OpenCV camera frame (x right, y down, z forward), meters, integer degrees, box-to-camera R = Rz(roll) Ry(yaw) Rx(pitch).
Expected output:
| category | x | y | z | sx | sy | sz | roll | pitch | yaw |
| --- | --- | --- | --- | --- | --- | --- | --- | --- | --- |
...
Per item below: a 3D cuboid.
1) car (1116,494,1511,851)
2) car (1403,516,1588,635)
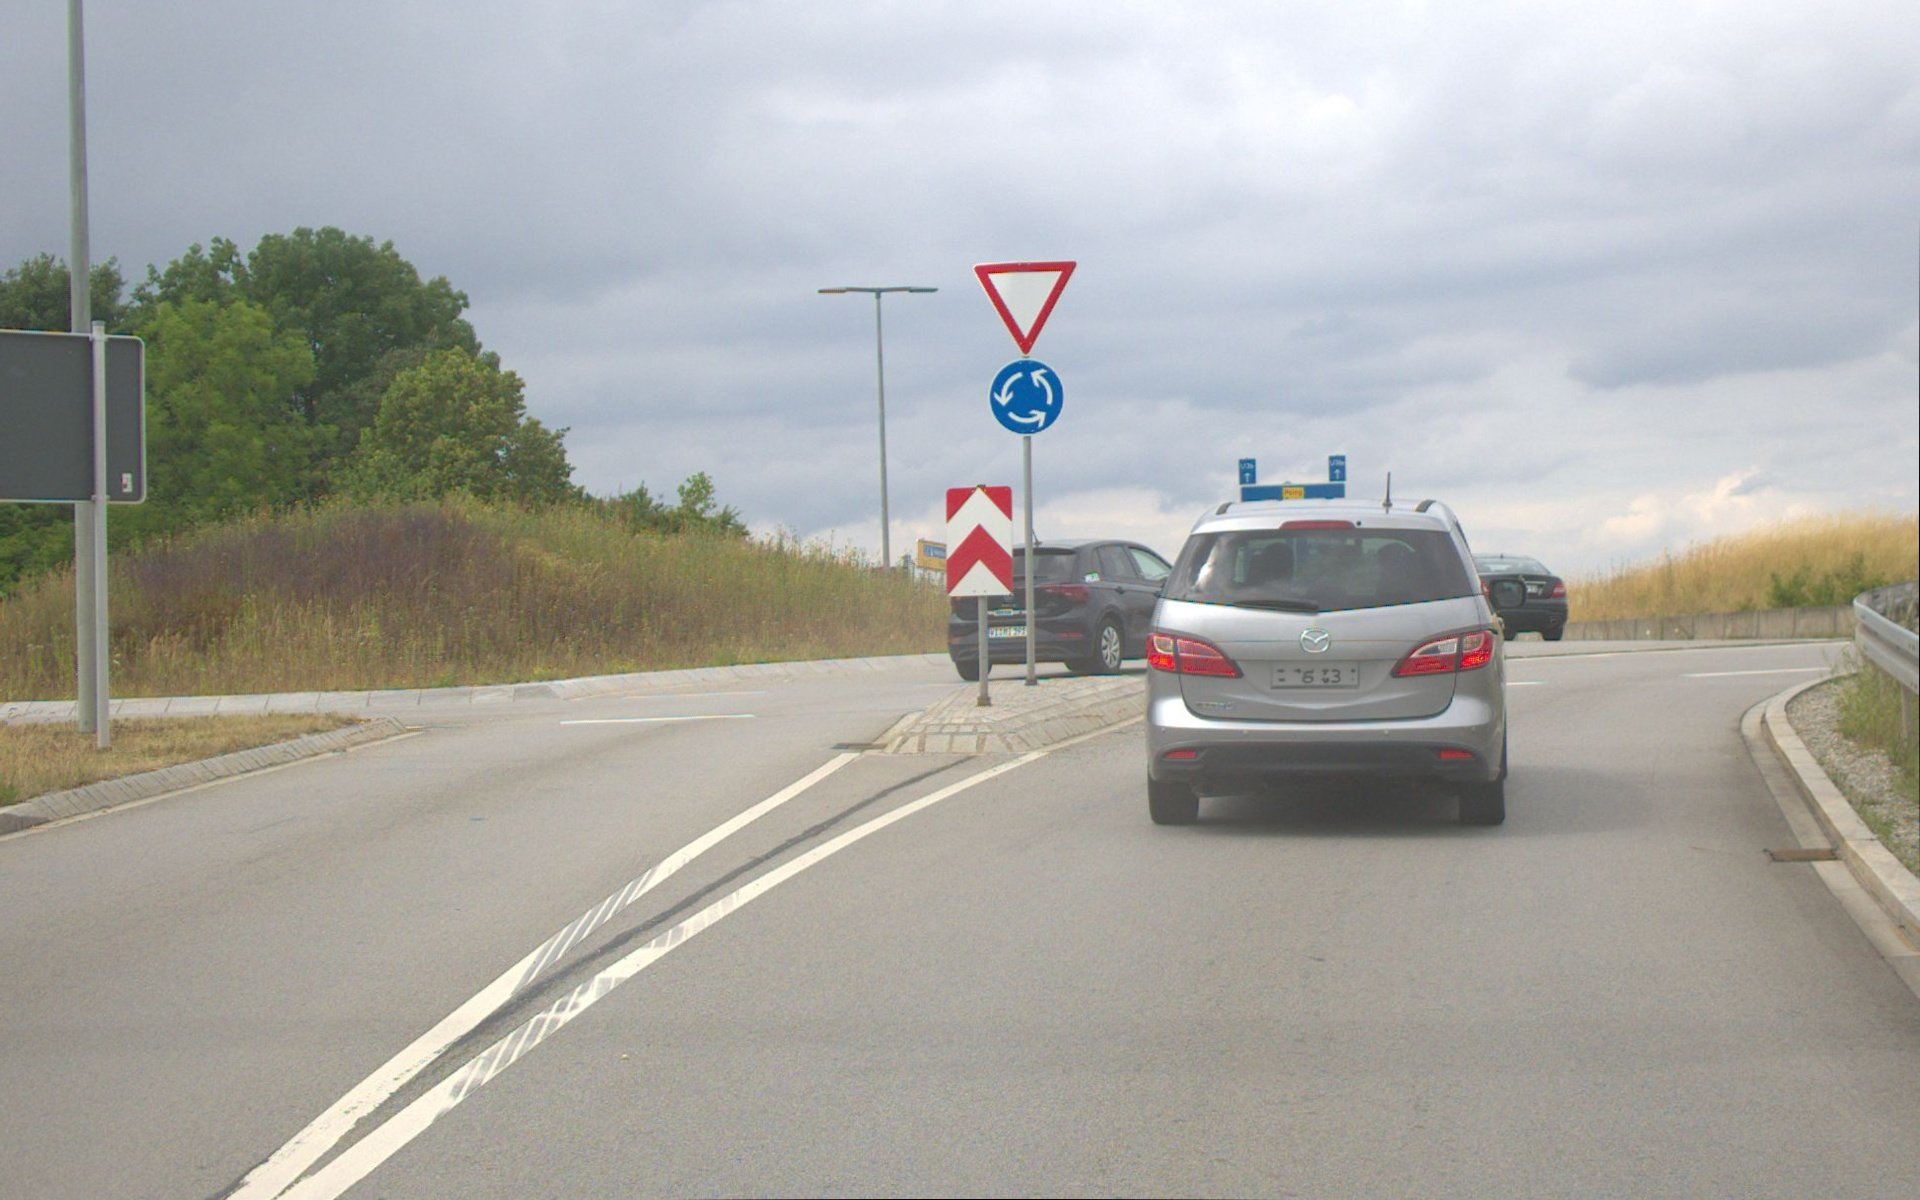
| category | x | y | z | sx | sy | sz | roll | pitch | yaw |
| --- | --- | --- | --- | --- | --- | --- | --- | --- | --- |
| car | 1.952 | 0.289 | 17.965 | 1.768 | 1.611 | 3.920 | -2 | 1 | 9 |
| car | 8.452 | -0.357 | 54.592 | 1.895 | 1.777 | 4.157 | -2 | 0 | -5 |
